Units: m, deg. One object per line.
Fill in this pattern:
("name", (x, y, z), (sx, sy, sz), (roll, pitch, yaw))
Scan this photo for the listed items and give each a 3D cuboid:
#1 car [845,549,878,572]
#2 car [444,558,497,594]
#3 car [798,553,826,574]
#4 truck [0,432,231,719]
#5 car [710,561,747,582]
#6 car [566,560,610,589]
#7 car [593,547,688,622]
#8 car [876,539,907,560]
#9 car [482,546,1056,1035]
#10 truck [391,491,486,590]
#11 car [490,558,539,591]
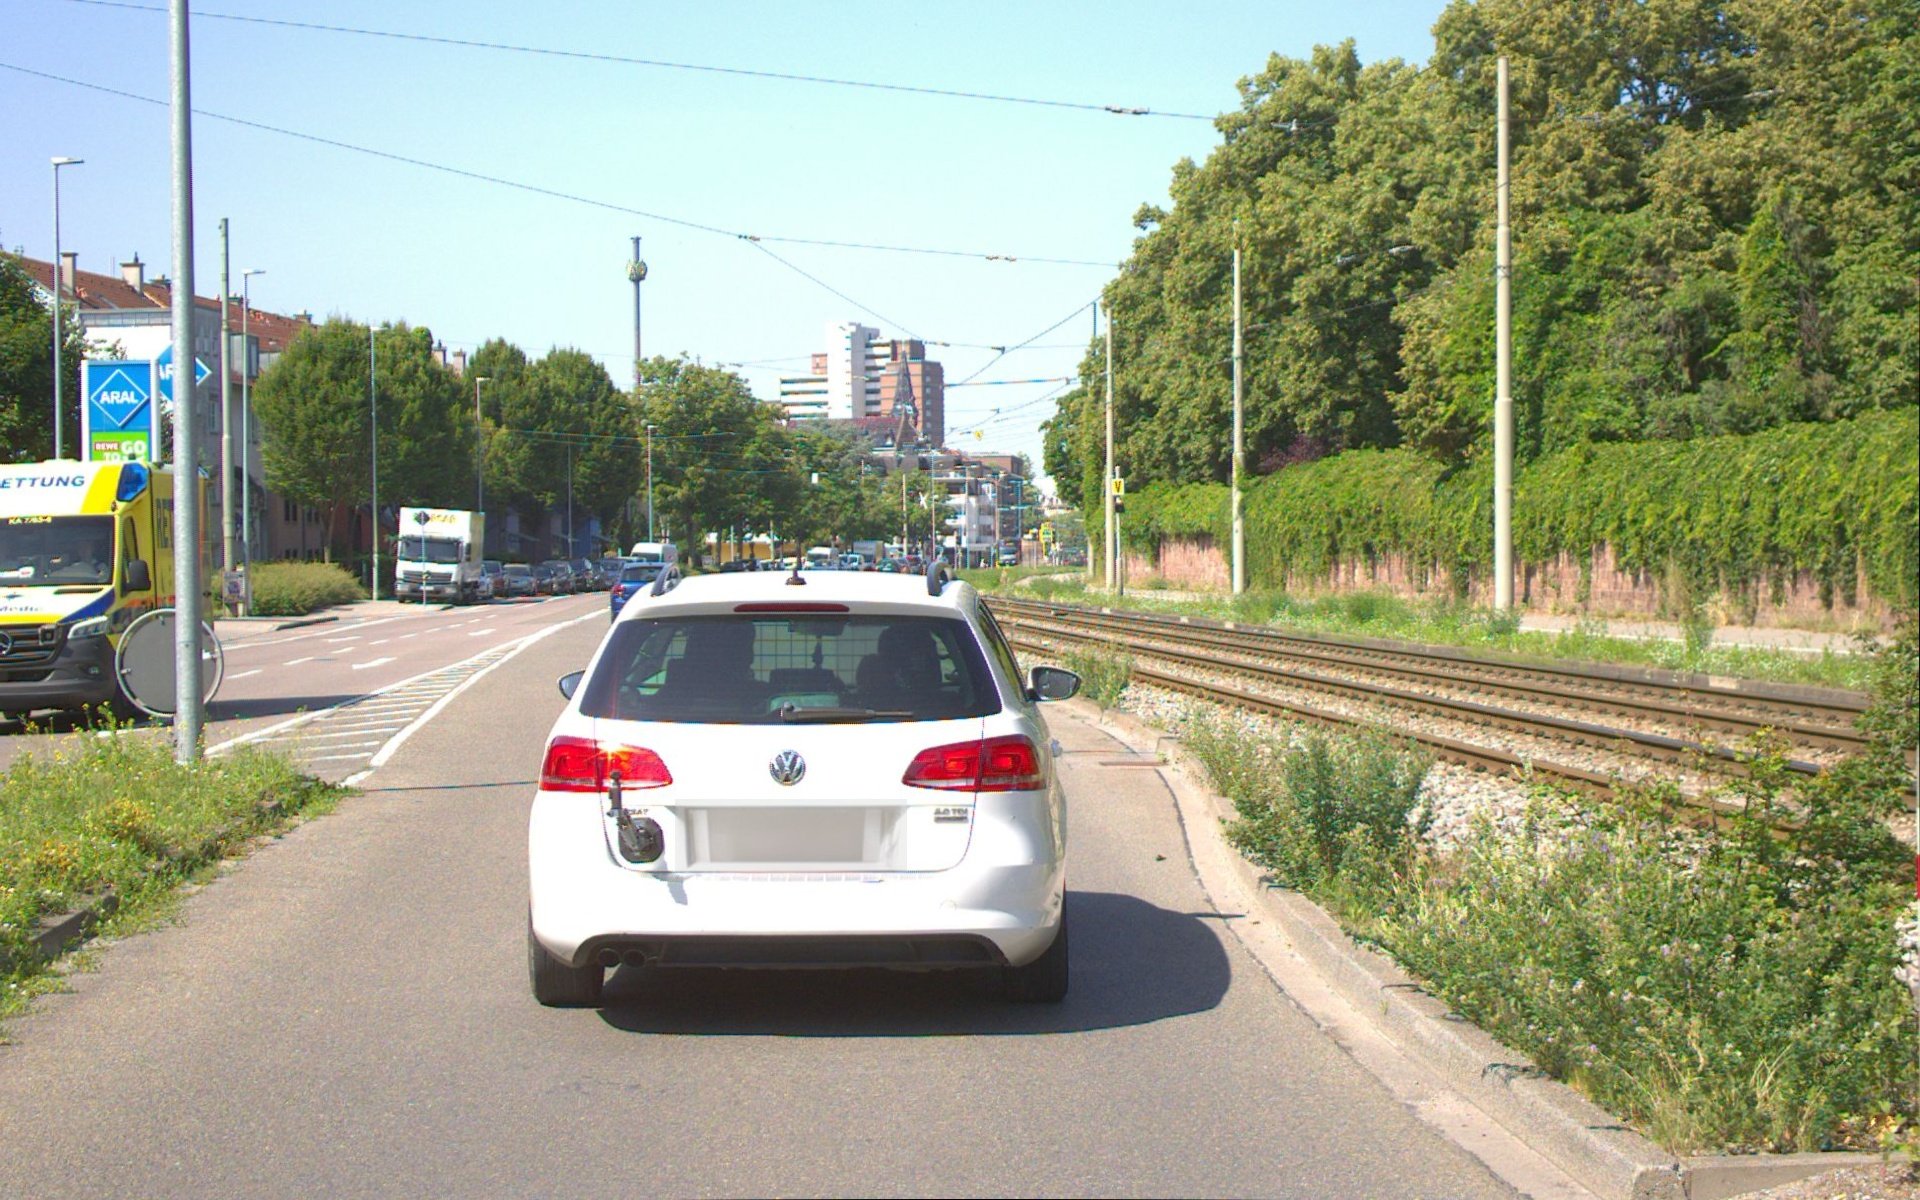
("car", (-6.558, -2.621, 228.914), (1.801, 1.502, 4.000), (0, 1, 4))
("car", (-19.895, -0.995, 139.904), (1.757, 1.424, 4.282), (1, 1, -3))
("car", (-10.411, -2.564, 242.236), (1.659, 1.415, 4.310), (-3, 1, 1))
("truck", (-9.342, -0.271, 35.757), (2.330, 2.659, 7.361), (-1, 1, -4))
("car", (-15.586, -1.915, 231.460), (1.700, 1.412, 3.999), (-1, 0, 8))
("car", (-19.715, -1.350, 182.103), (1.690, 1.469, 4.048), (2, 0, 2))
("car", (-6.805, -0.346, 73.520), (1.800, 1.502, 4.001), (0, 2, -2))
("car", (-4.796, -3.556, 241.858), (1.801, 1.455, 3.999), (-1, 1, 4))
("car", (-0.677, 0.543, 12.433), (1.691, 1.446, 4.459), (0, 1, -3))
("truck", (-19.304, -2.192, 127.663), (2.666, 3.518, 8.591), (1, 1, -3))
("car", (-20.518, -1.165, 158.422), (1.780, 1.478, 4.858), (1, 0, -2))
